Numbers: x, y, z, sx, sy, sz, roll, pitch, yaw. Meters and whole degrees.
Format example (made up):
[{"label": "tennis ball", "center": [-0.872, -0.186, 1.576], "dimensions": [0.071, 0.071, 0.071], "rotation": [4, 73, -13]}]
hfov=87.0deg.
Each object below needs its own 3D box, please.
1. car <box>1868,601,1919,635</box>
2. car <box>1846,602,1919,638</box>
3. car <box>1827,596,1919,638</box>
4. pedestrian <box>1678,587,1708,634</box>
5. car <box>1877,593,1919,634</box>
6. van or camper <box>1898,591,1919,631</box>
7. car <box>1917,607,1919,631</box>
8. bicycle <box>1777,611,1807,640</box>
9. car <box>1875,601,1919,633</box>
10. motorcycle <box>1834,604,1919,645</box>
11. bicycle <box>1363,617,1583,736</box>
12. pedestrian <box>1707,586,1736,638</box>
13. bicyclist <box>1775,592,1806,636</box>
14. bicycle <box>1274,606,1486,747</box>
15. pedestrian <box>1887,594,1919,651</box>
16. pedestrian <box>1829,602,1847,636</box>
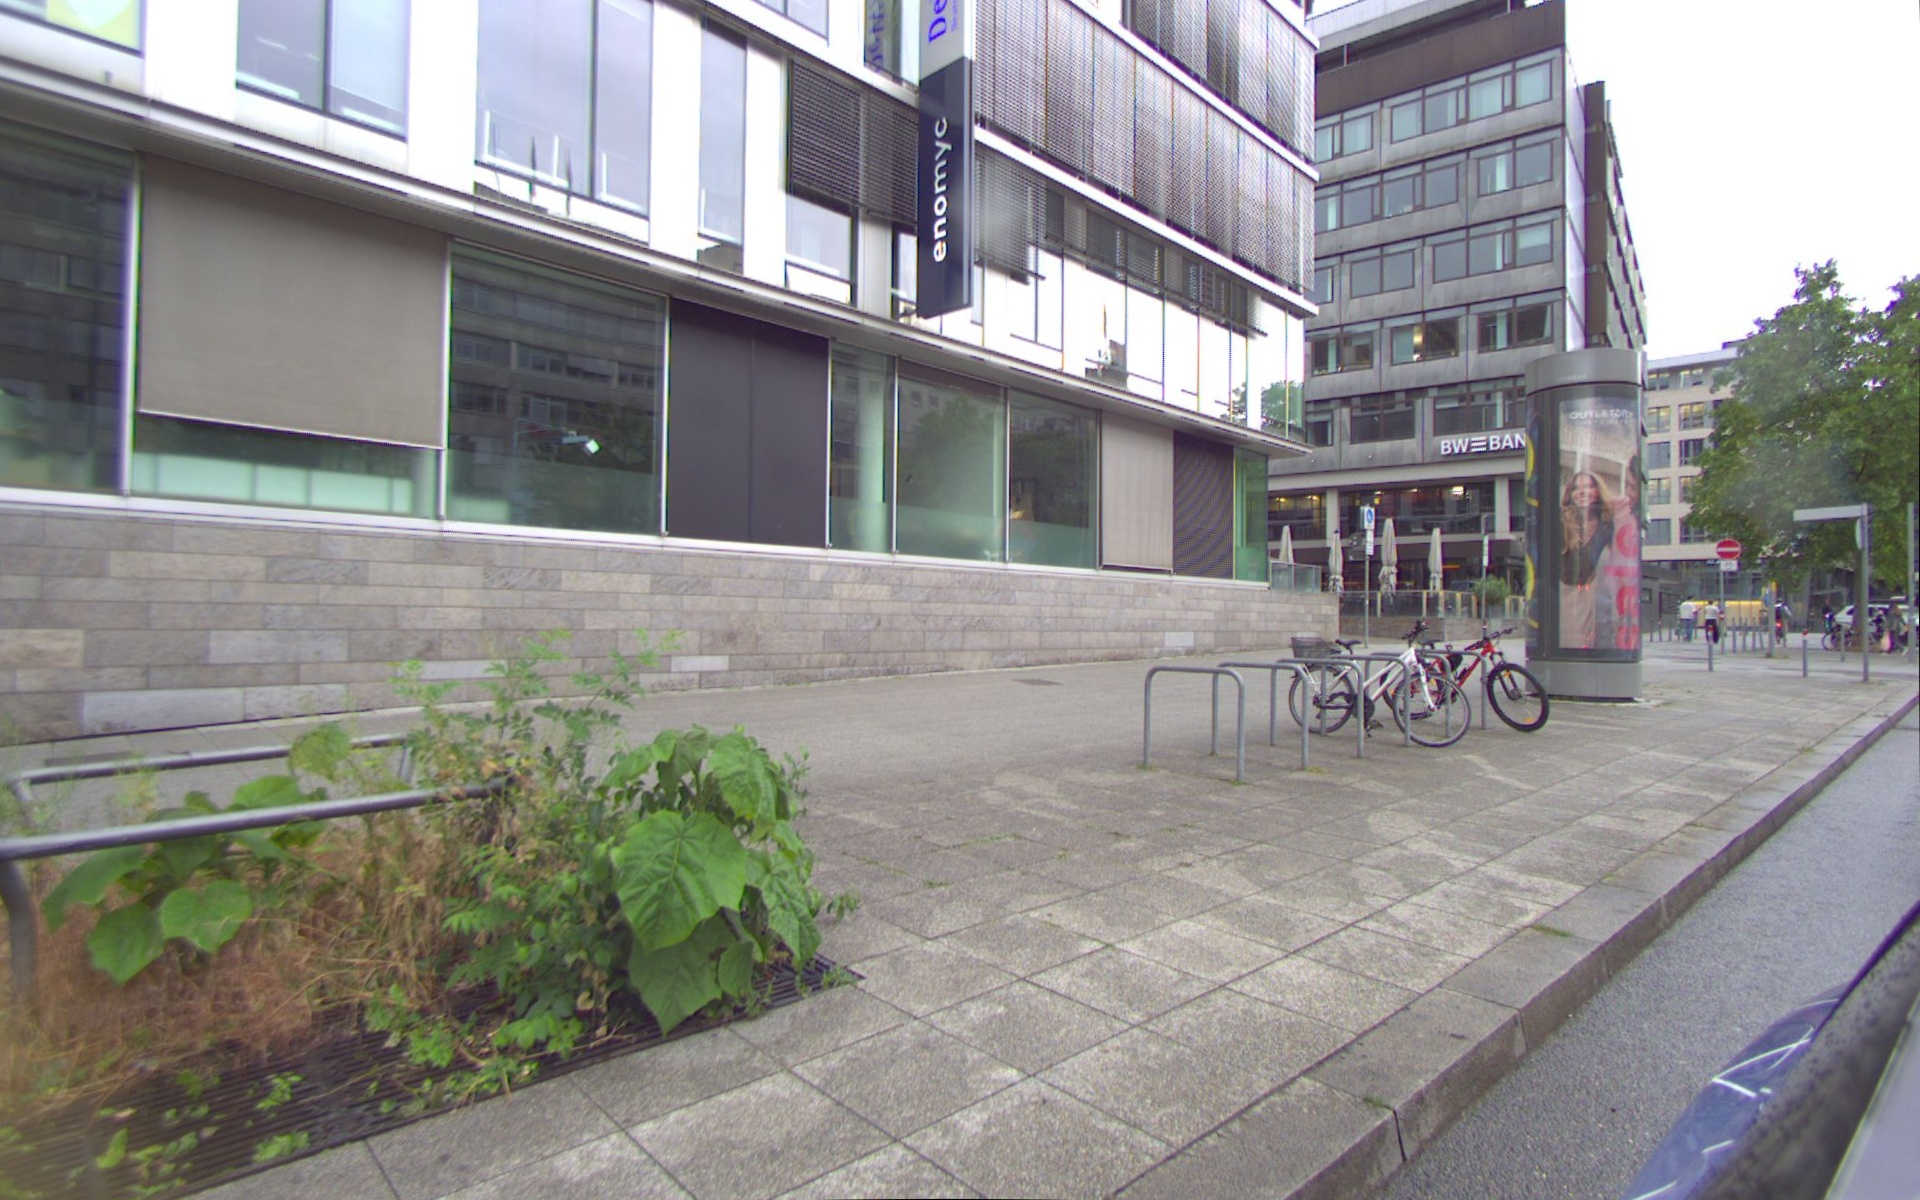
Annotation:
[{"label": "car", "center": [44.808, 0.801, 46.403], "dimensions": [1.876, 1.557, 4.365], "rotation": [0, -1, -14]}, {"label": "car", "center": [41.093, 0.856, 43.222], "dimensions": [1.877, 1.493, 4.729], "rotation": [0, -1, -9]}, {"label": "car", "center": [38.724, 0.689, 41.374], "dimensions": [1.876, 1.671, 4.812], "rotation": [0, -1, -11]}, {"label": "pedestrian", "center": [30.314, 0.442, 41.868], "dimensions": [0.883, 1.893, 0.802], "rotation": [1, -2, -42]}, {"label": "car", "center": [48.791, 0.667, 50.235], "dimensions": [1.882, 2.018, 4.525], "rotation": [0, -1, -12]}, {"label": "van or camper", "center": [61.336, 0.642, 61.436], "dimensions": [2.267, 2.479, 6.275], "rotation": [0, -1, -11]}, {"label": "car", "center": [58.724, 1.083, 58.936], "dimensions": [1.673, 1.442, 4.068], "rotation": [0, -1, -12]}, {"label": "bicycle", "center": [34.490, 1.061, 41.957], "dimensions": [0.774, 1.154, 1.947], "rotation": [-5, -5, 42]}, {"label": "car", "center": [46.781, 0.812, 48.224], "dimensions": [1.876, 1.557, 4.399], "rotation": [0, -1, -14]}, {"label": "motorcycle", "center": [31.766, 0.852, 35.071], "dimensions": [0.664, 1.375, 2.090], "rotation": [1, -2, -34]}, {"label": "bicycle", "center": [5.508, 0.766, 10.987], "dimensions": [0.793, 1.118, 1.989], "rotation": [1, 0, -37]}, {"label": "pedestrian", "center": [31.083, 0.493, 41.315], "dimensions": [0.847, 2.065, 0.743], "rotation": [-1, -2, 36]}, {"label": "bicyclist", "center": [34.542, 0.582, 42.079], "dimensions": [0.809, 1.772, 1.063], "rotation": [-6, -4, 43]}, {"label": "bicycle", "center": [4.049, 0.685, 9.895], "dimensions": [0.648, 1.212, 1.841], "rotation": [1, 0, -37]}, {"label": "pedestrian", "center": [28.442, 0.671, 30.399], "dimensions": [0.706, 1.707, 0.530], "rotation": [0, -2, -14]}, {"label": "pedestrian", "center": [49.904, 1.082, 57.517], "dimensions": [0.719, 1.908, 0.646], "rotation": [-2, -2, 43]}]
